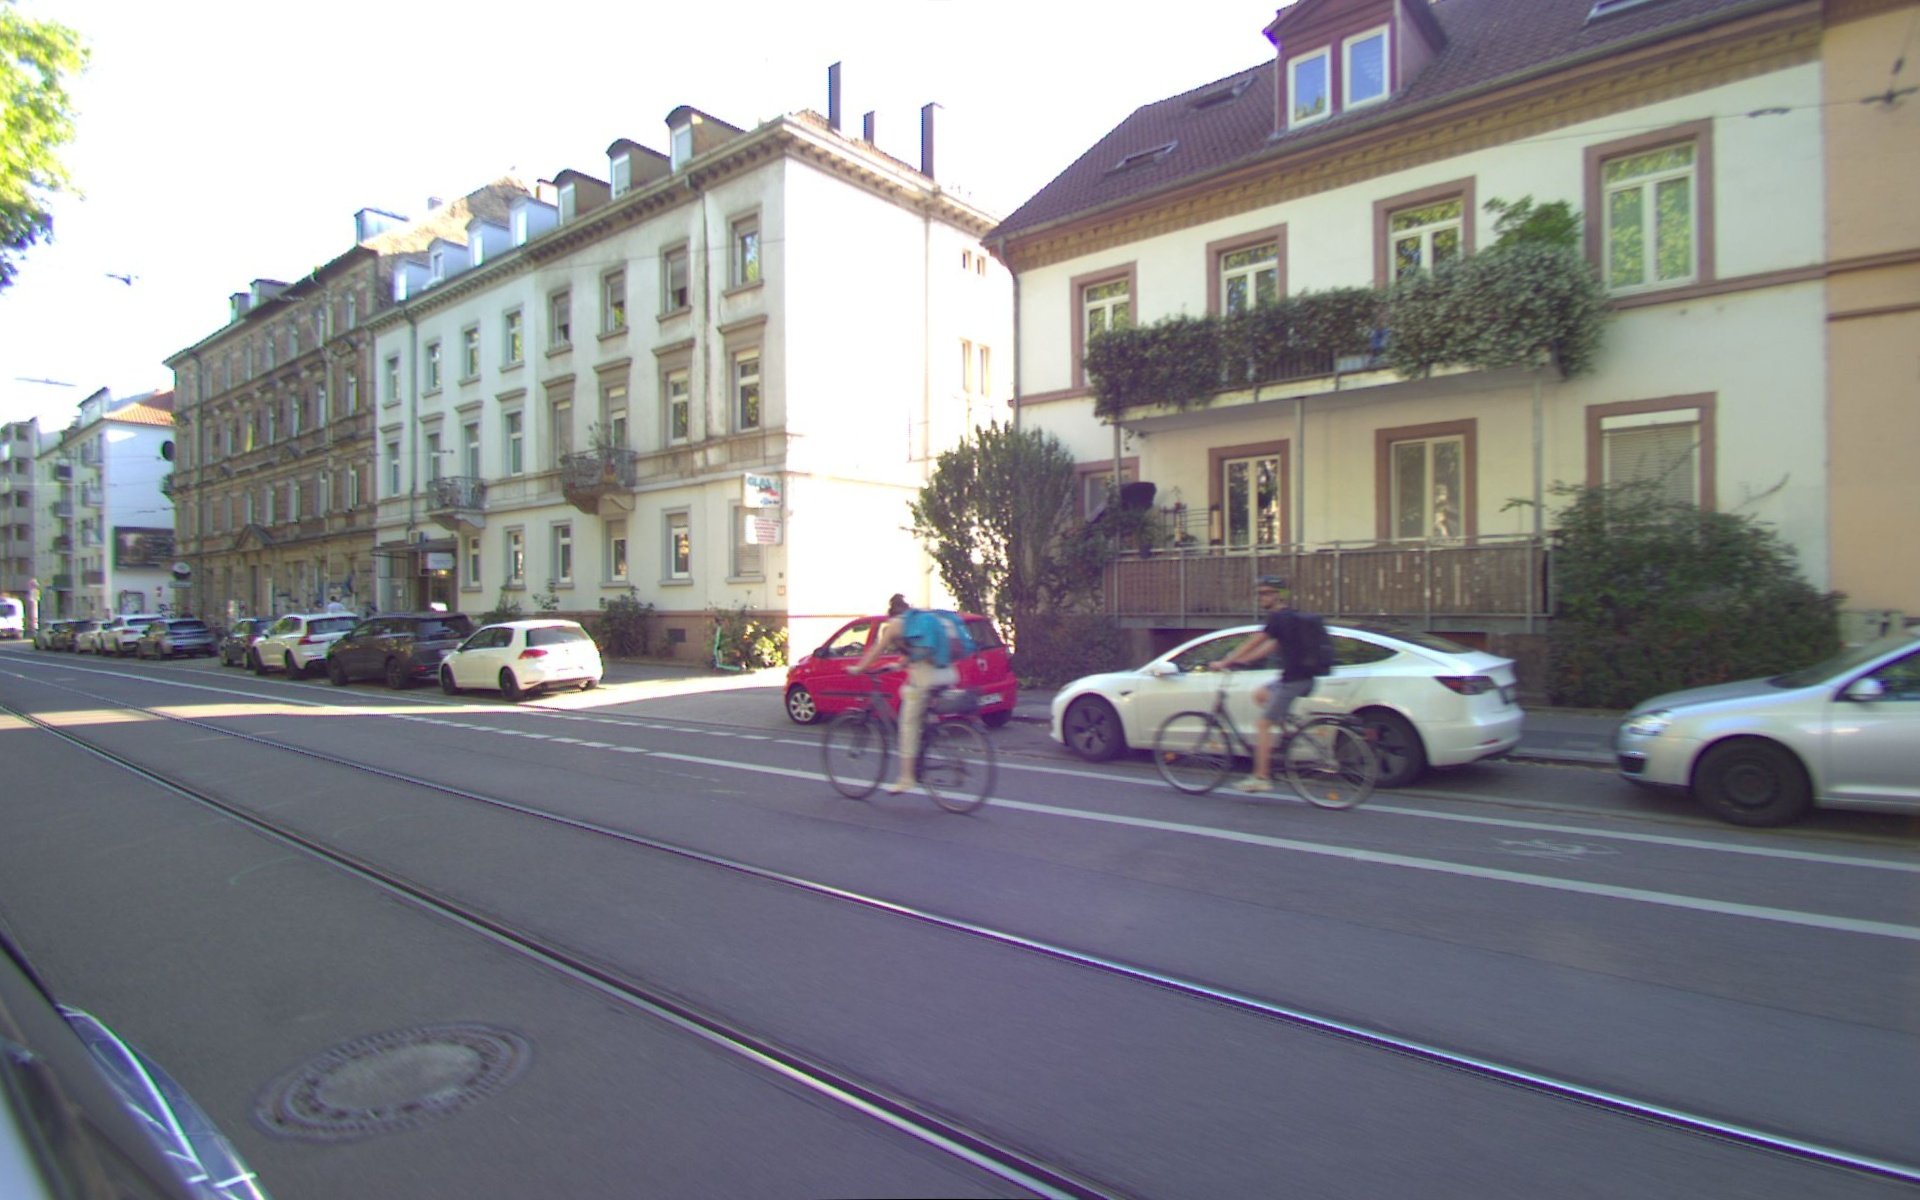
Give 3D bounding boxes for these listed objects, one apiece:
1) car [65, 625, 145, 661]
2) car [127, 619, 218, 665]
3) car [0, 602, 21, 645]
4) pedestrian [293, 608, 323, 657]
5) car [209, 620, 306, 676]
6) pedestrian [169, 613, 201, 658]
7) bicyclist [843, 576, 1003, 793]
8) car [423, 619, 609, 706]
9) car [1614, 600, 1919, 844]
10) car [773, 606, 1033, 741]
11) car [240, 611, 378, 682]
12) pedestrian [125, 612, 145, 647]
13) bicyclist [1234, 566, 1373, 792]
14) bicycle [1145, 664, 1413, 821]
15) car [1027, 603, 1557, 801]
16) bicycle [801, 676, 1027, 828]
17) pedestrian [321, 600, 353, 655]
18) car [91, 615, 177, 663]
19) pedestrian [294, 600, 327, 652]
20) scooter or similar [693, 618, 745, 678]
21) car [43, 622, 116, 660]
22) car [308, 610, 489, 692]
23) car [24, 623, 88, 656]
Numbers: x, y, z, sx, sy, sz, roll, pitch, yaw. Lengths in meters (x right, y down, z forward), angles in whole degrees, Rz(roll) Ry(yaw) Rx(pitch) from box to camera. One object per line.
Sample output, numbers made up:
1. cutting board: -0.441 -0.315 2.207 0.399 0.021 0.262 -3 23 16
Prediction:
1. car: -36.674 1.805 43.396 3.992 1.431 1.684 -1 1 36
2. car: -28.491 1.471 36.568 4.058 1.532 1.647 -1 1 38
3. car: -60.133 1.457 62.929 5.664 2.555 2.043 -1 -1 42
4. pedestrian: -22.839 1.122 35.459 0.653 1.678 0.771 -1 0 -19
5. car: -20.945 1.381 30.121 3.923 1.527 1.537 -1 -1 42
6. pedestrian: -31.639 1.433 41.325 1.053 1.814 0.679 -1 0 31
7. bicyclist: -0.286 0.601 7.656 1.069 1.515 0.631 -1 -2 41
8. car: -8.925 1.170 20.192 4.254 1.488 1.670 -1 1 40
9. car: 7.140 0.773 6.791 4.445 1.514 1.809 -1 0 39
10. car: -0.849 0.889 13.555 3.449 1.574 1.552 -1 -1 44
11. car: -17.321 1.183 26.821 4.760 1.716 1.837 -1 -1 41
12. pedestrian: -43.550 1.558 53.425 0.893 1.762 0.649 -3 -1 43
13. bicyclist: 2.675 0.589 7.891 0.896 1.647 0.529 -1 -3 42
14. bicycle: 2.490 1.074 8.115 2.039 1.055 0.479 -1 -3 42
15. car: 3.125 0.842 10.103 4.682 1.514 1.810 -1 0 38
16. bicycle: -0.401 1.092 7.700 1.921 0.950 0.493 -1 -3 42
17. pedestrian: -23.065 1.003 37.476 0.829 2.029 0.752 -1 -1 38
18. car: -32.754 1.497 40.079 4.715 1.736 1.768 -1 1 40
19. pedestrian: -23.640 0.937 36.826 0.828 1.835 0.752 -1 -1 37
20. scooter or similar: -5.401 1.051 22.625 0.441 1.290 1.577 0 -1 -41
21. car: -40.779 1.859 46.828 4.781 1.574 1.724 -1 1 39
22. car: -13.067 1.119 23.459 4.648 1.716 1.841 -1 -1 35
23. car: -44.926 1.935 50.269 4.040 1.503 1.724 -1 1 39
